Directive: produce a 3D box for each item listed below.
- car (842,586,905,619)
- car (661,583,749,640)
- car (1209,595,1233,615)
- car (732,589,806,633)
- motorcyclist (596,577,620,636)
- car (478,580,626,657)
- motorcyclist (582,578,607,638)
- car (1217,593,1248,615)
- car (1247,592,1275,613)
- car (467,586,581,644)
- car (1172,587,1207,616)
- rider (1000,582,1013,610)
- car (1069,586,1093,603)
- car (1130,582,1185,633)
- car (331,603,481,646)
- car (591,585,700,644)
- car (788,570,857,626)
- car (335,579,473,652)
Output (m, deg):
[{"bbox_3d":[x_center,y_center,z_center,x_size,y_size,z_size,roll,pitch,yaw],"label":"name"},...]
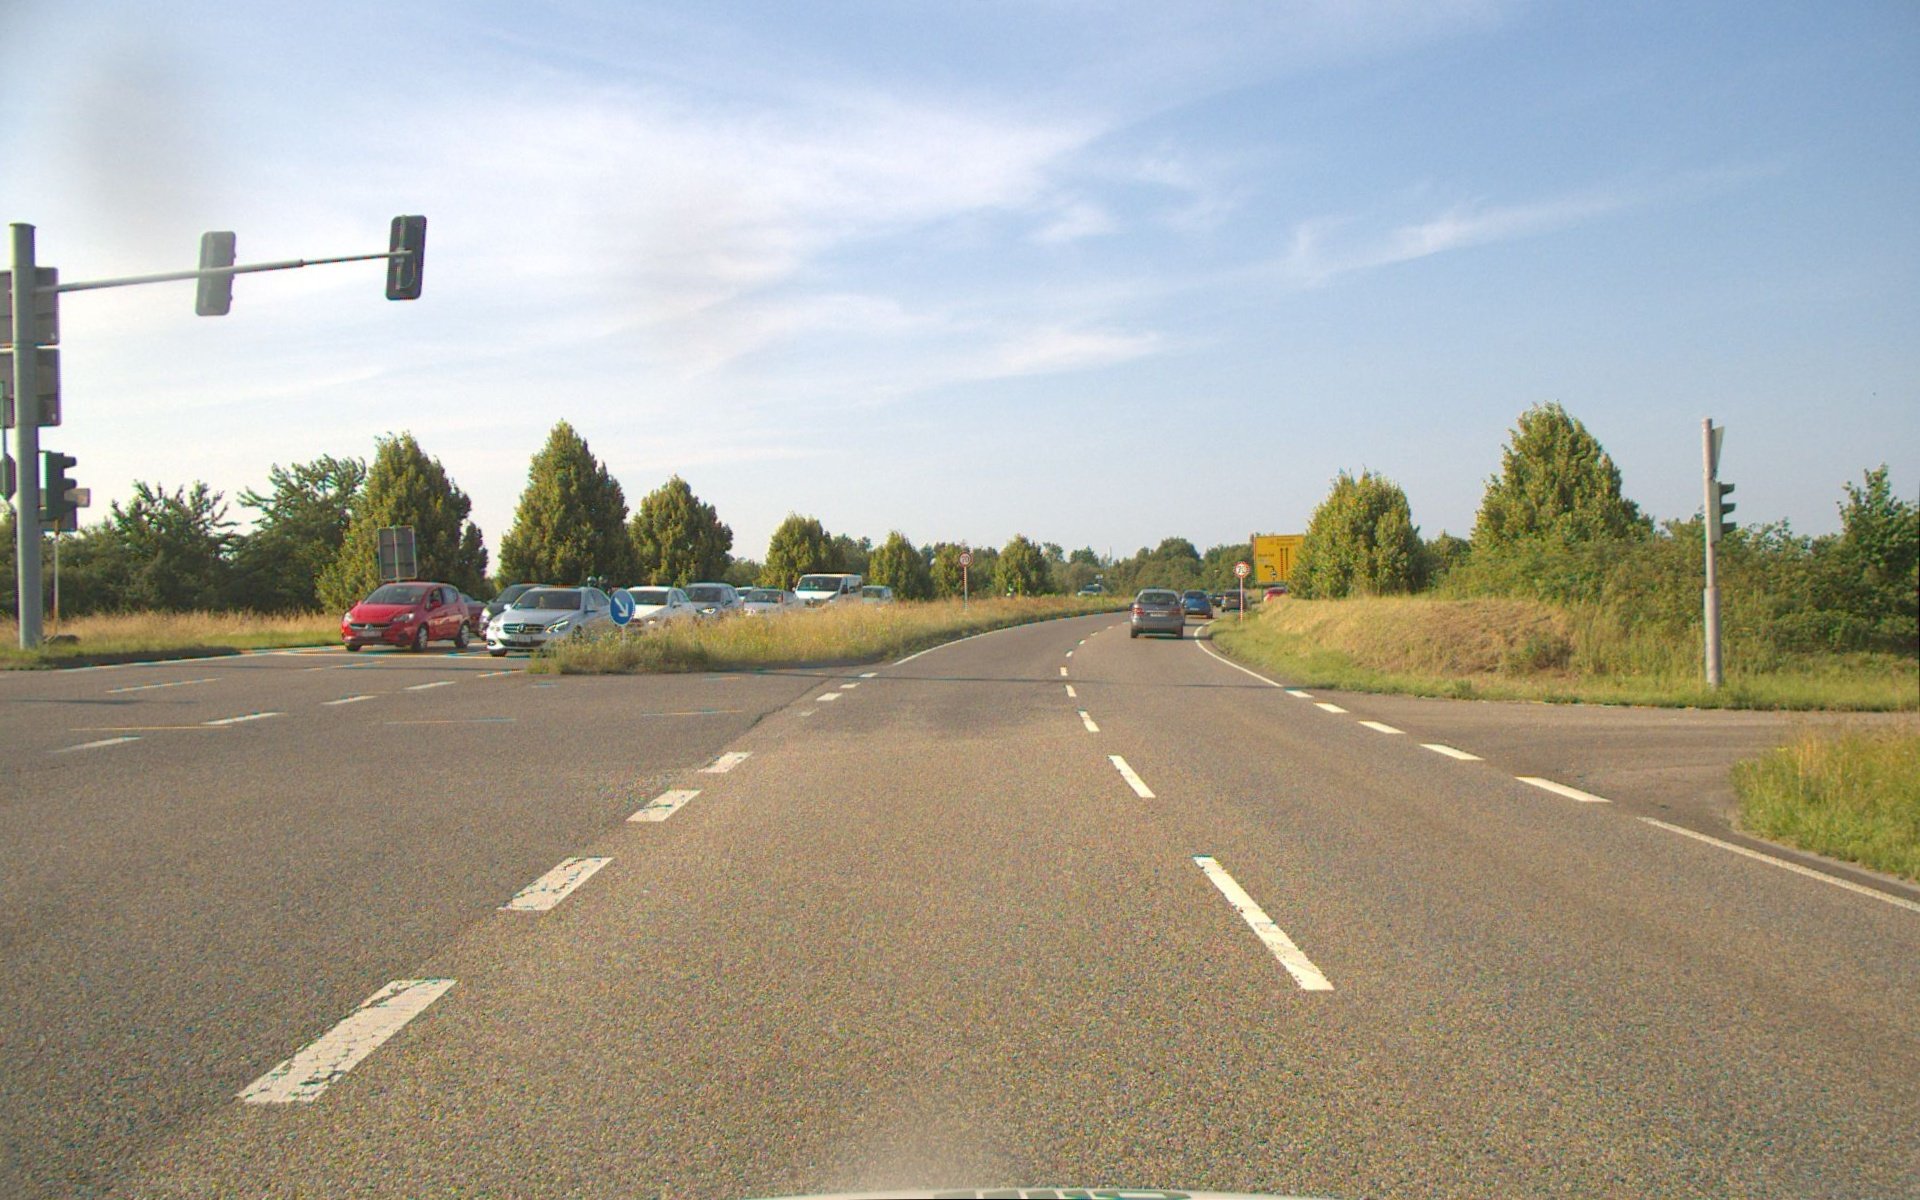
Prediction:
[{"bbox_3d":[-3.795,0.113,73.527,1.748,1.410,4.055,-1,0,13],"label":"car"},{"bbox_3d":[-7.563,0.321,49.331,1.748,1.596,4.053,-1,0,3],"label":"car"},{"bbox_3d":[20.375,0.347,129.036,1.735,1.518,3.988,0,0,10],"label":"car"},{"bbox_3d":[-6.361,0.358,55.494,1.748,1.410,4.053,-1,0,3],"label":"car"},{"bbox_3d":[-11.067,0.197,52.050,0.649,1.849,0.605,0,0,-4],"label":"motorcyclist"},{"bbox_3d":[-8.613,0.362,35.355,1.748,1.514,4.653,-1,0,4],"label":"car"},{"bbox_3d":[-10.831,0.236,49.030,0.649,1.778,0.605,0,0,-4],"label":"motorcyclist"},{"bbox_3d":[18.127,0.277,109.909,1.874,1.440,3.798,0,-1,12],"label":"car"},{"bbox_3d":[24.192,0.237,132.949,1.855,1.592,4.281,0,-1,15],"label":"car"},{"bbox_3d":[-11.511,0.382,43.930,1.748,1.458,4.053,-1,0,3],"label":"car"},{"bbox_3d":[12.372,0.073,89.111,1.735,1.518,3.988,0,0,10],"label":"car"},{"bbox_3d":[3.420,-0.296,121.850,0.849,2.049,0.772,0,0,15],"label":"rider"},{"bbox_3d":[10.374,-0.458,141.237,1.375,1.426,3.424,-1,0,16],"label":"car"},{"bbox_3d":[6.675,0.284,55.715,1.746,1.633,4.199,0,-1,8],"label":"car"},{"bbox_3d":[-15.320,0.659,46.012,1.951,1.121,4.481,0,0,12],"label":"car"},{"bbox_3d":[-8.114,0.357,43.026,1.748,1.458,4.311,-1,0,3],"label":"car"},{"bbox_3d":[-5.346,-0.077,64.900,1.884,2.114,4.246,-1,0,7],"label":"car"},{"bbox_3d":[-12.267,0.326,36.719,1.685,1.514,3.805,-1,0,1],"label":"car"}]
